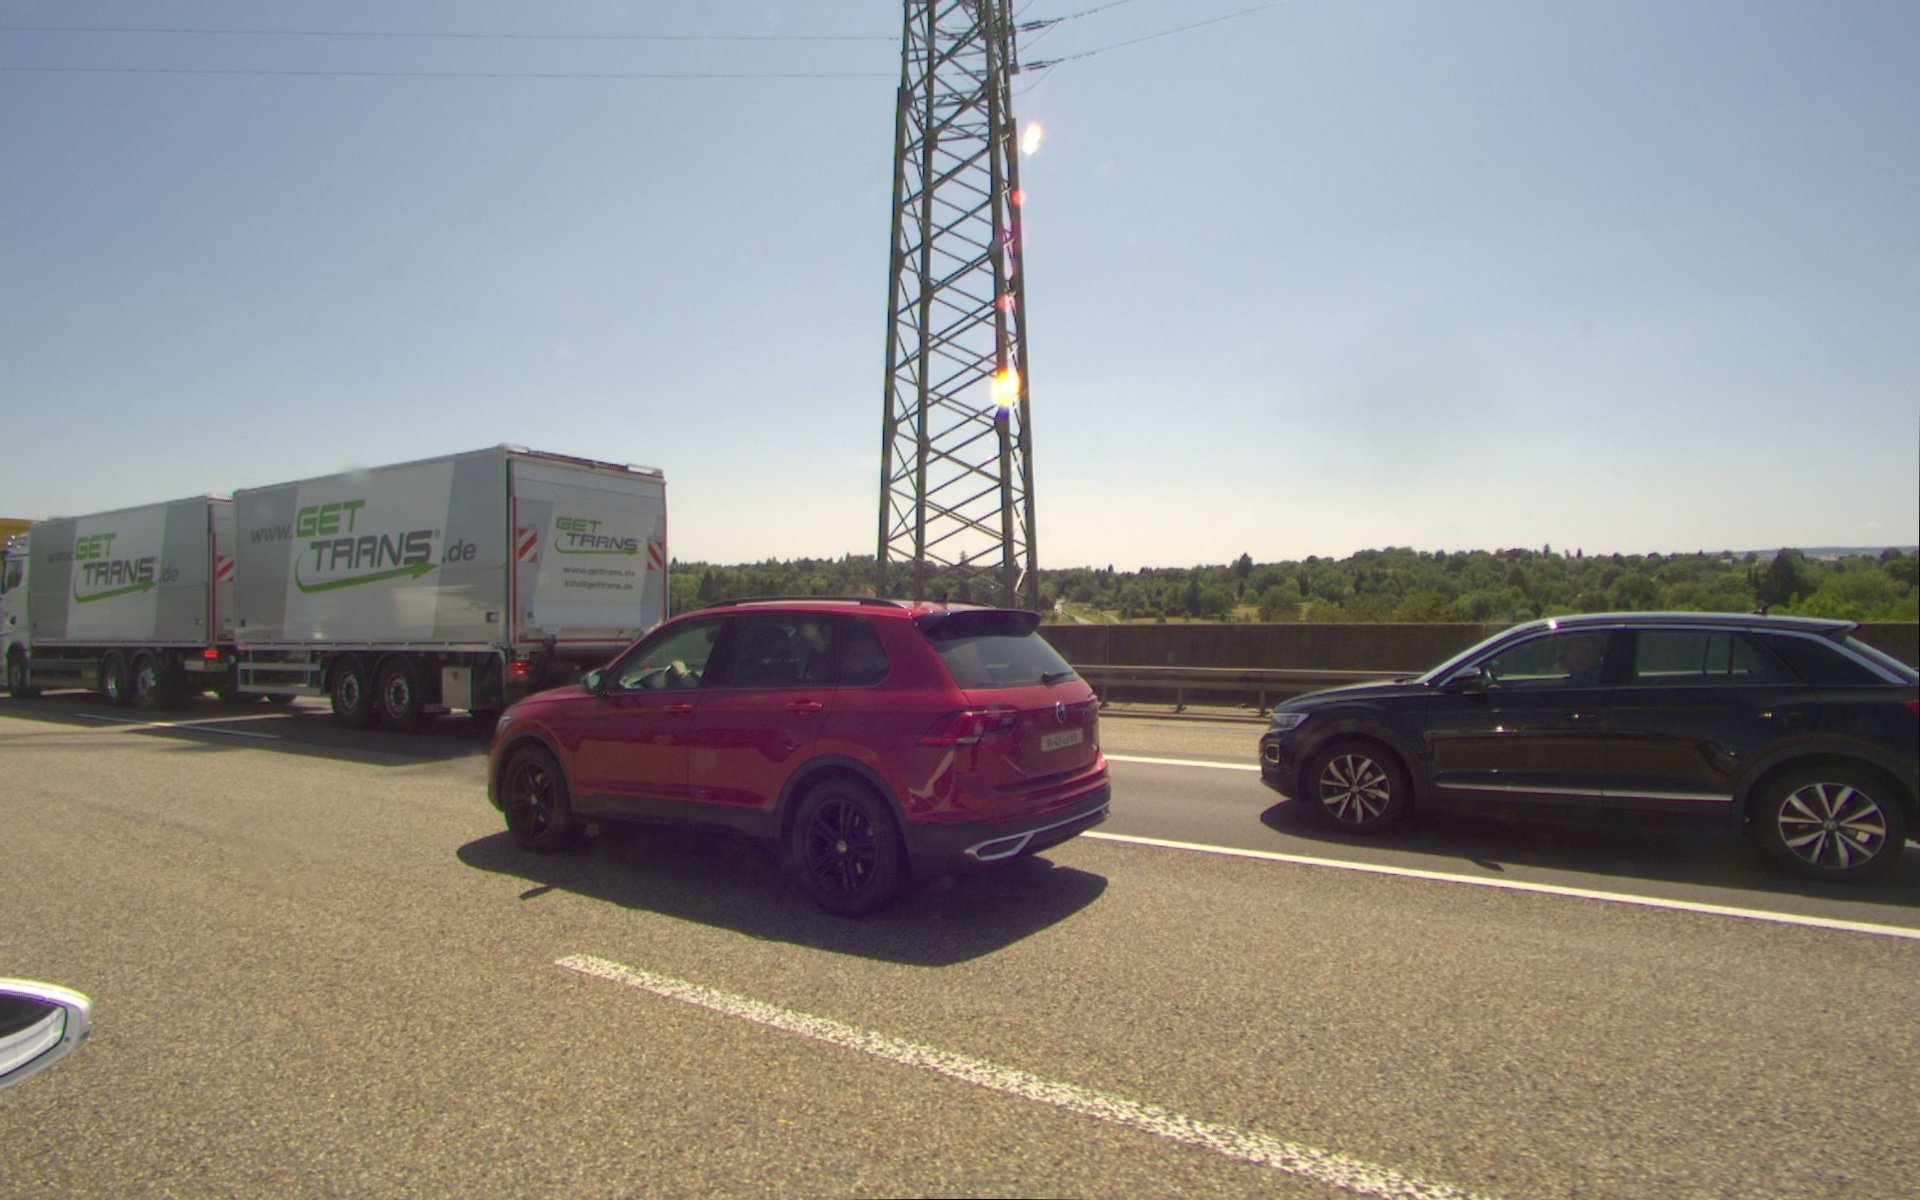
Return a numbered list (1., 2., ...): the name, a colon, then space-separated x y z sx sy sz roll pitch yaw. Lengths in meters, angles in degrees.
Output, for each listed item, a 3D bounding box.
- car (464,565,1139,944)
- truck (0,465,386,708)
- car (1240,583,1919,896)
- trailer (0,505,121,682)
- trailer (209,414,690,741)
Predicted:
1. car: -1.162 0.777 6.398 4.225 1.700 1.705 -2 -3 33
2. truck: -15.981 -0.051 20.437 10.459 3.984 2.847 -2 -2 32
3. car: 4.215 0.815 6.982 4.059 1.675 1.706 -2 -2 32
4. trailer: -25.834 -0.020 26.630 8.850 4.139 2.679 -1 -2 31
5. trailer: -8.095 -0.132 15.457 8.097 3.940 2.894 -2 -2 32
